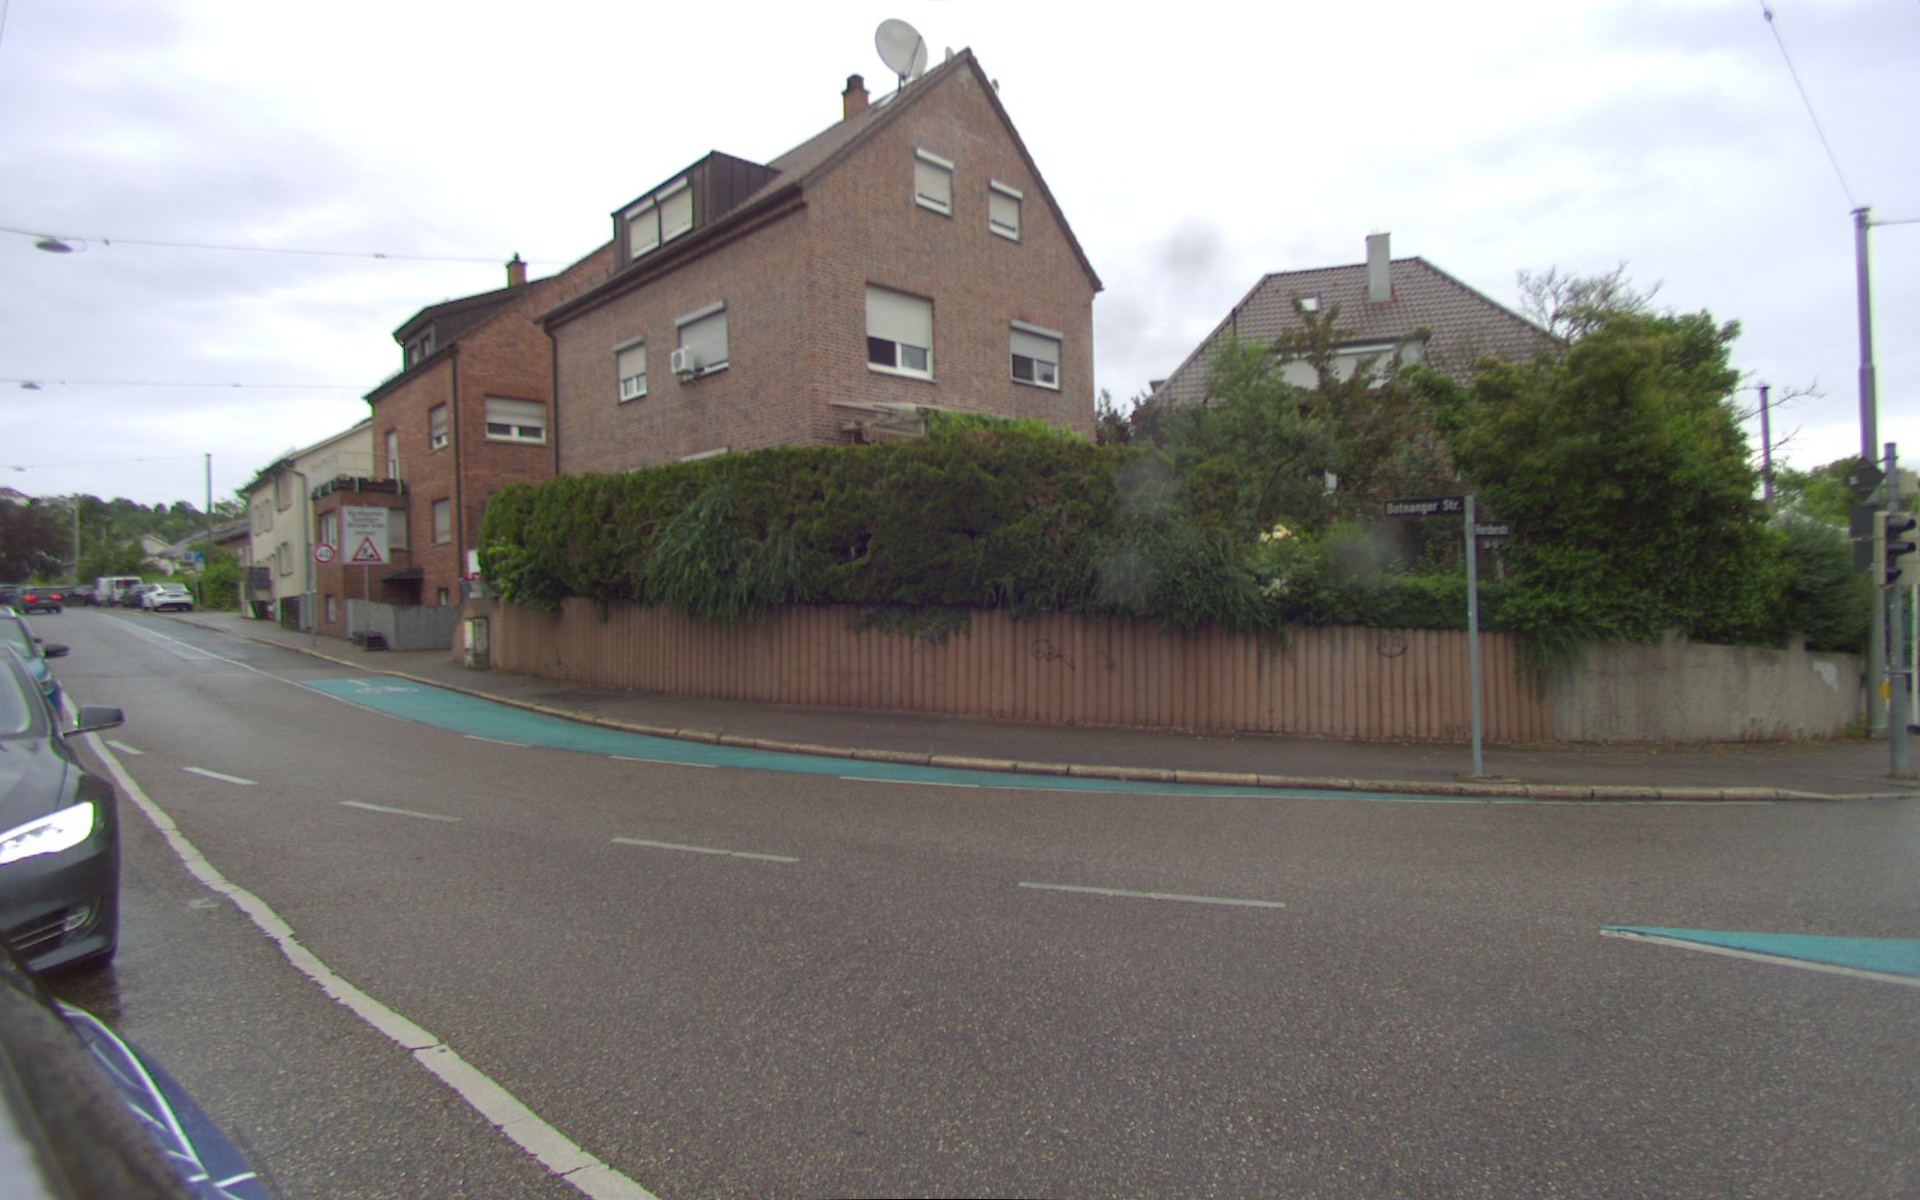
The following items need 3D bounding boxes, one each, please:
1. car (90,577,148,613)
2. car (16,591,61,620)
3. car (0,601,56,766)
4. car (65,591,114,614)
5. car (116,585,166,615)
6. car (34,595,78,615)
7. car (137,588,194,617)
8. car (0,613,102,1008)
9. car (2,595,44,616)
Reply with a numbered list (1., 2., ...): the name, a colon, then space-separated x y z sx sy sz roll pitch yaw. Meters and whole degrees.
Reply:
1. car: -57.029 -0.321 68.580 4.544 2.303 2.229 0 2 41
2. car: -57.023 0.351 62.620 4.175 1.693 1.827 1 -1 45
3. car: -10.982 0.808 10.811 3.785 1.601 1.765 0 0 45
4. car: -61.538 0.190 71.514 4.002 1.501 1.636 -1 2 34
5. car: -52.383 -0.011 64.723 4.262 1.817 1.791 0 2 42
6. car: -66.756 0.360 74.703 3.854 1.407 1.635 -1 2 36
7. car: -46.433 0.161 59.130 4.262 1.577 1.921 0 2 42
8. car: -5.409 0.798 4.701 4.002 1.426 1.845 0 0 45
9. car: -71.784 0.399 77.498 3.895 1.501 1.605 -1 2 36
